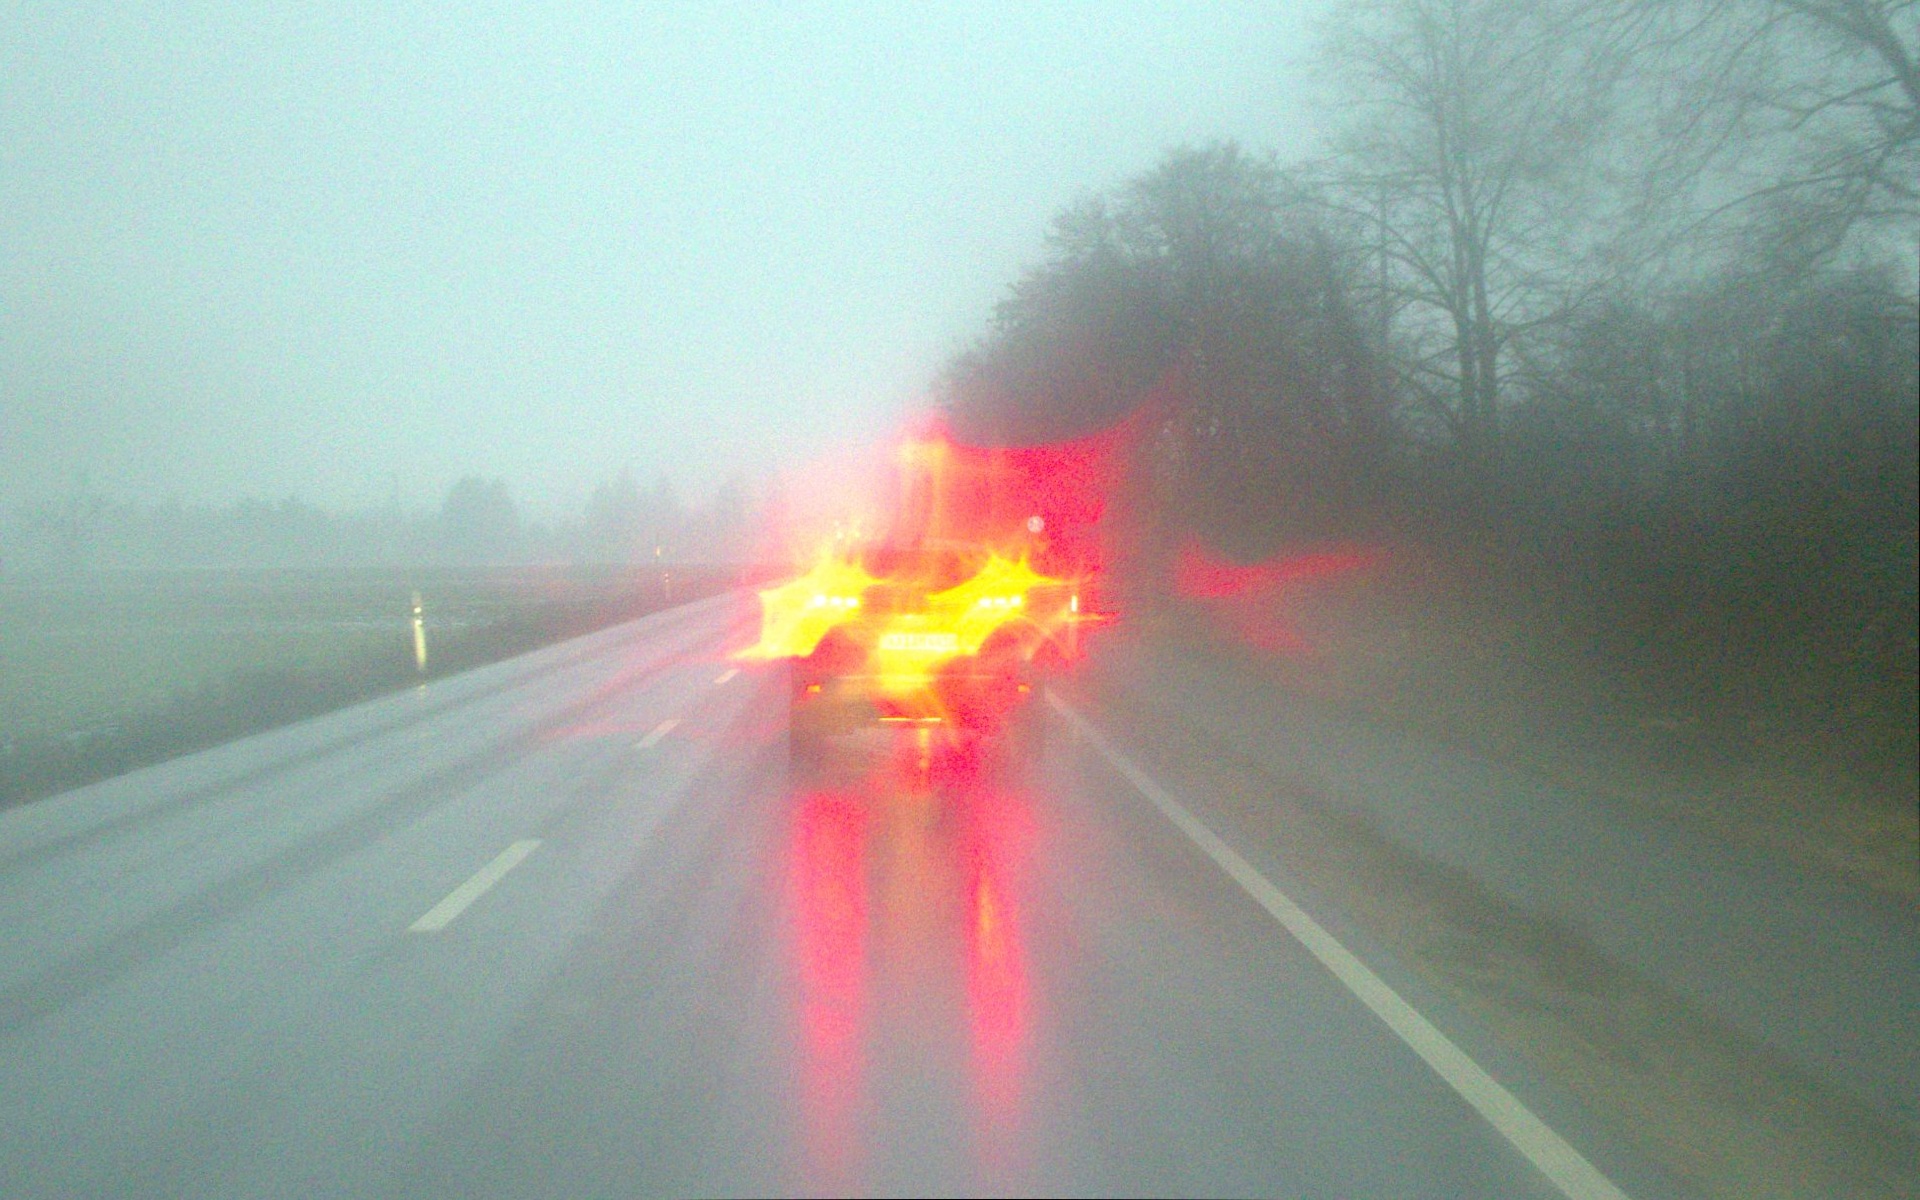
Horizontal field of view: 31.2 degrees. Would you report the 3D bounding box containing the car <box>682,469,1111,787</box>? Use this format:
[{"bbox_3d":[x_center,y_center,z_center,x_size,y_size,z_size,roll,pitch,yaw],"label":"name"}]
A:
[{"bbox_3d":[-0.460,0.155,25.769,2.820,2.070,5.804,1,1,-1],"label":"car"}]

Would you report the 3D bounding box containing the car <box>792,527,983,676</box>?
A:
[{"bbox_3d":[-1.034,-0.016,50.151,2.592,2.007,5.804,1,1,-1],"label":"car"}]
